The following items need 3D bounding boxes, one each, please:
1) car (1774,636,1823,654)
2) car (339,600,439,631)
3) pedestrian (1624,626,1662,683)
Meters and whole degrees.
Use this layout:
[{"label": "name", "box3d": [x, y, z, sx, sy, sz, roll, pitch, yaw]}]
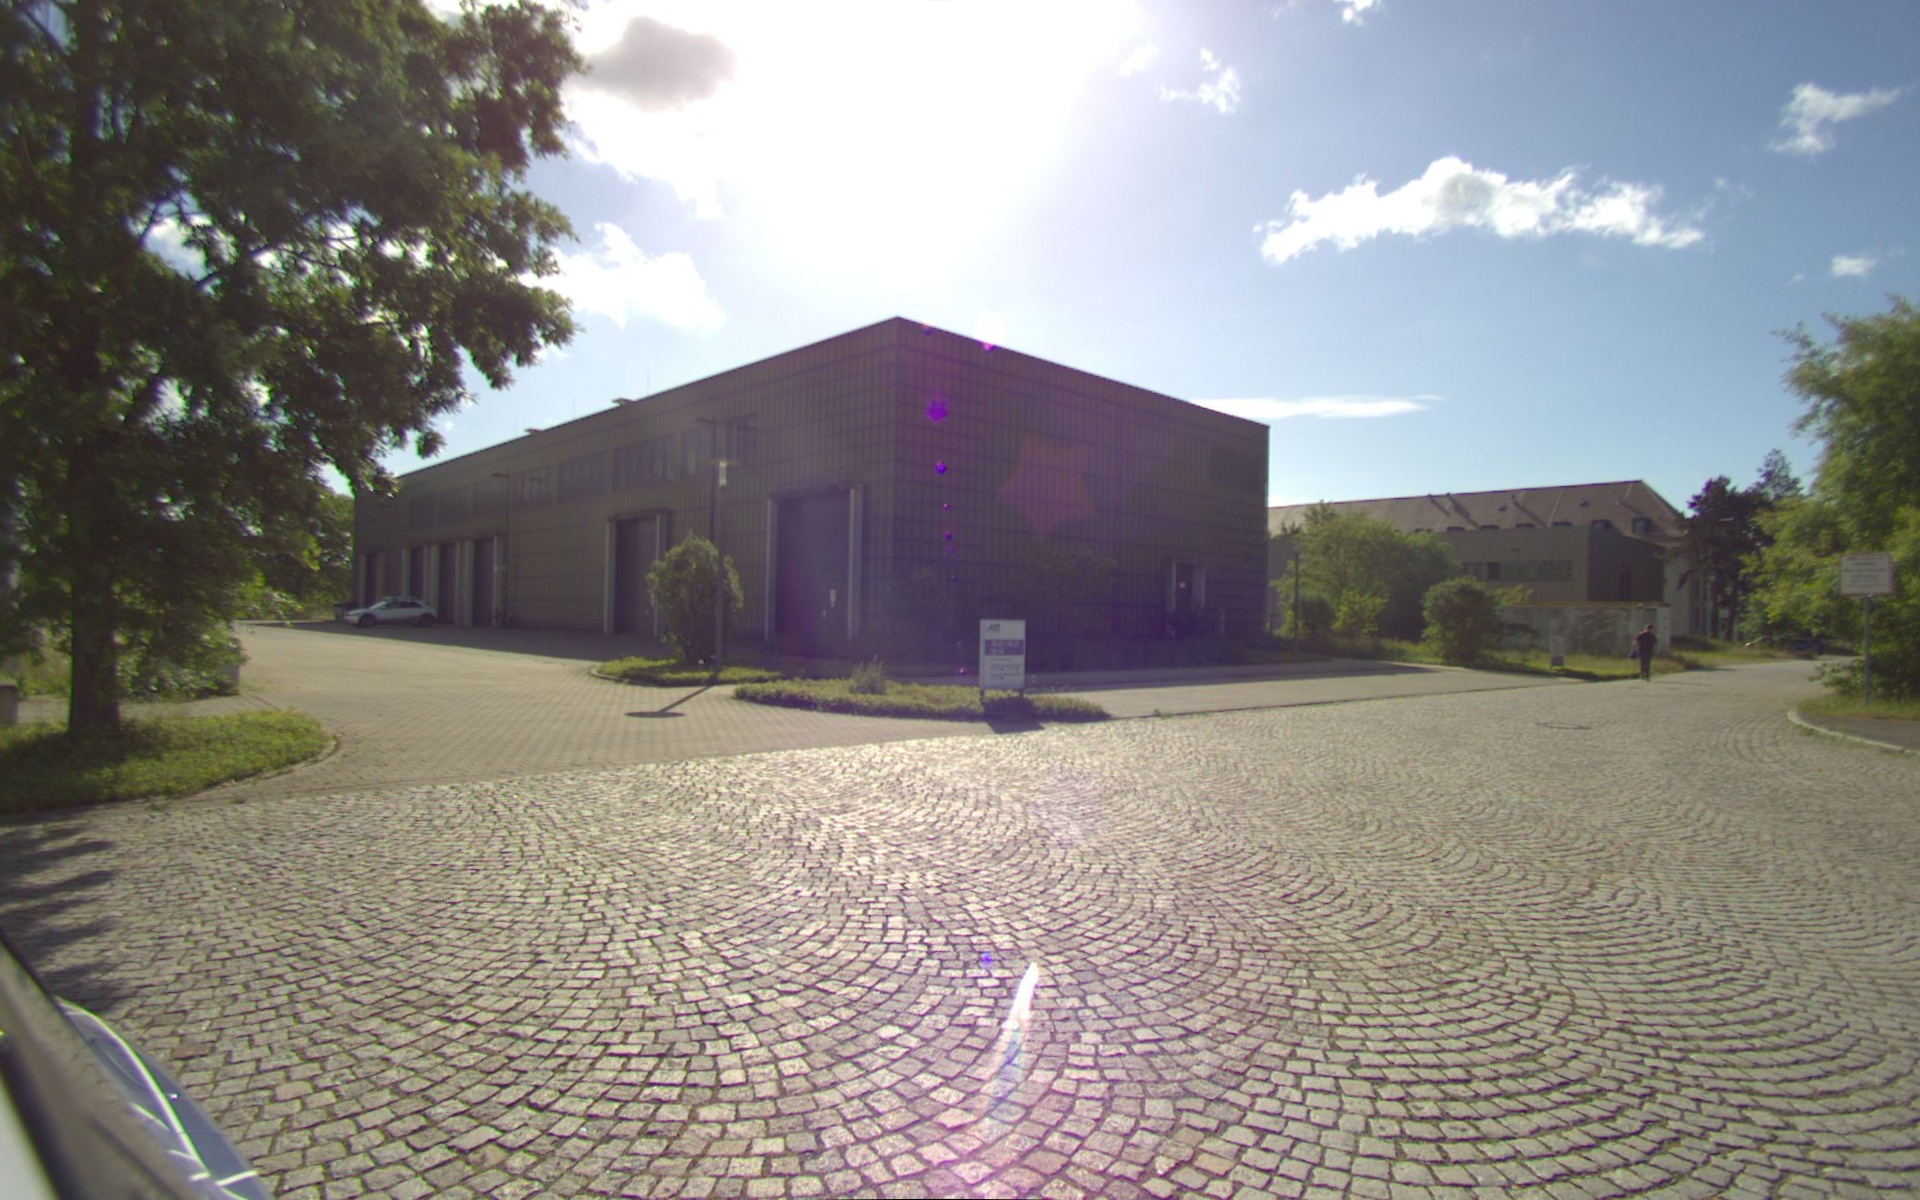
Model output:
[{"label": "car", "box3d": [65.973, 3.531, 79.672, 2.908, 1.269, 1.271, 0, -2, 38]}, {"label": "car", "box3d": [-32.025, 0.890, 56.863, 4.511, 1.675, 2.001, 2, -2, -45]}, {"label": "pedestrian", "box3d": [22.246, 1.772, 32.964, 0.798, 1.794, 1.053, 2, -1, 45]}]
